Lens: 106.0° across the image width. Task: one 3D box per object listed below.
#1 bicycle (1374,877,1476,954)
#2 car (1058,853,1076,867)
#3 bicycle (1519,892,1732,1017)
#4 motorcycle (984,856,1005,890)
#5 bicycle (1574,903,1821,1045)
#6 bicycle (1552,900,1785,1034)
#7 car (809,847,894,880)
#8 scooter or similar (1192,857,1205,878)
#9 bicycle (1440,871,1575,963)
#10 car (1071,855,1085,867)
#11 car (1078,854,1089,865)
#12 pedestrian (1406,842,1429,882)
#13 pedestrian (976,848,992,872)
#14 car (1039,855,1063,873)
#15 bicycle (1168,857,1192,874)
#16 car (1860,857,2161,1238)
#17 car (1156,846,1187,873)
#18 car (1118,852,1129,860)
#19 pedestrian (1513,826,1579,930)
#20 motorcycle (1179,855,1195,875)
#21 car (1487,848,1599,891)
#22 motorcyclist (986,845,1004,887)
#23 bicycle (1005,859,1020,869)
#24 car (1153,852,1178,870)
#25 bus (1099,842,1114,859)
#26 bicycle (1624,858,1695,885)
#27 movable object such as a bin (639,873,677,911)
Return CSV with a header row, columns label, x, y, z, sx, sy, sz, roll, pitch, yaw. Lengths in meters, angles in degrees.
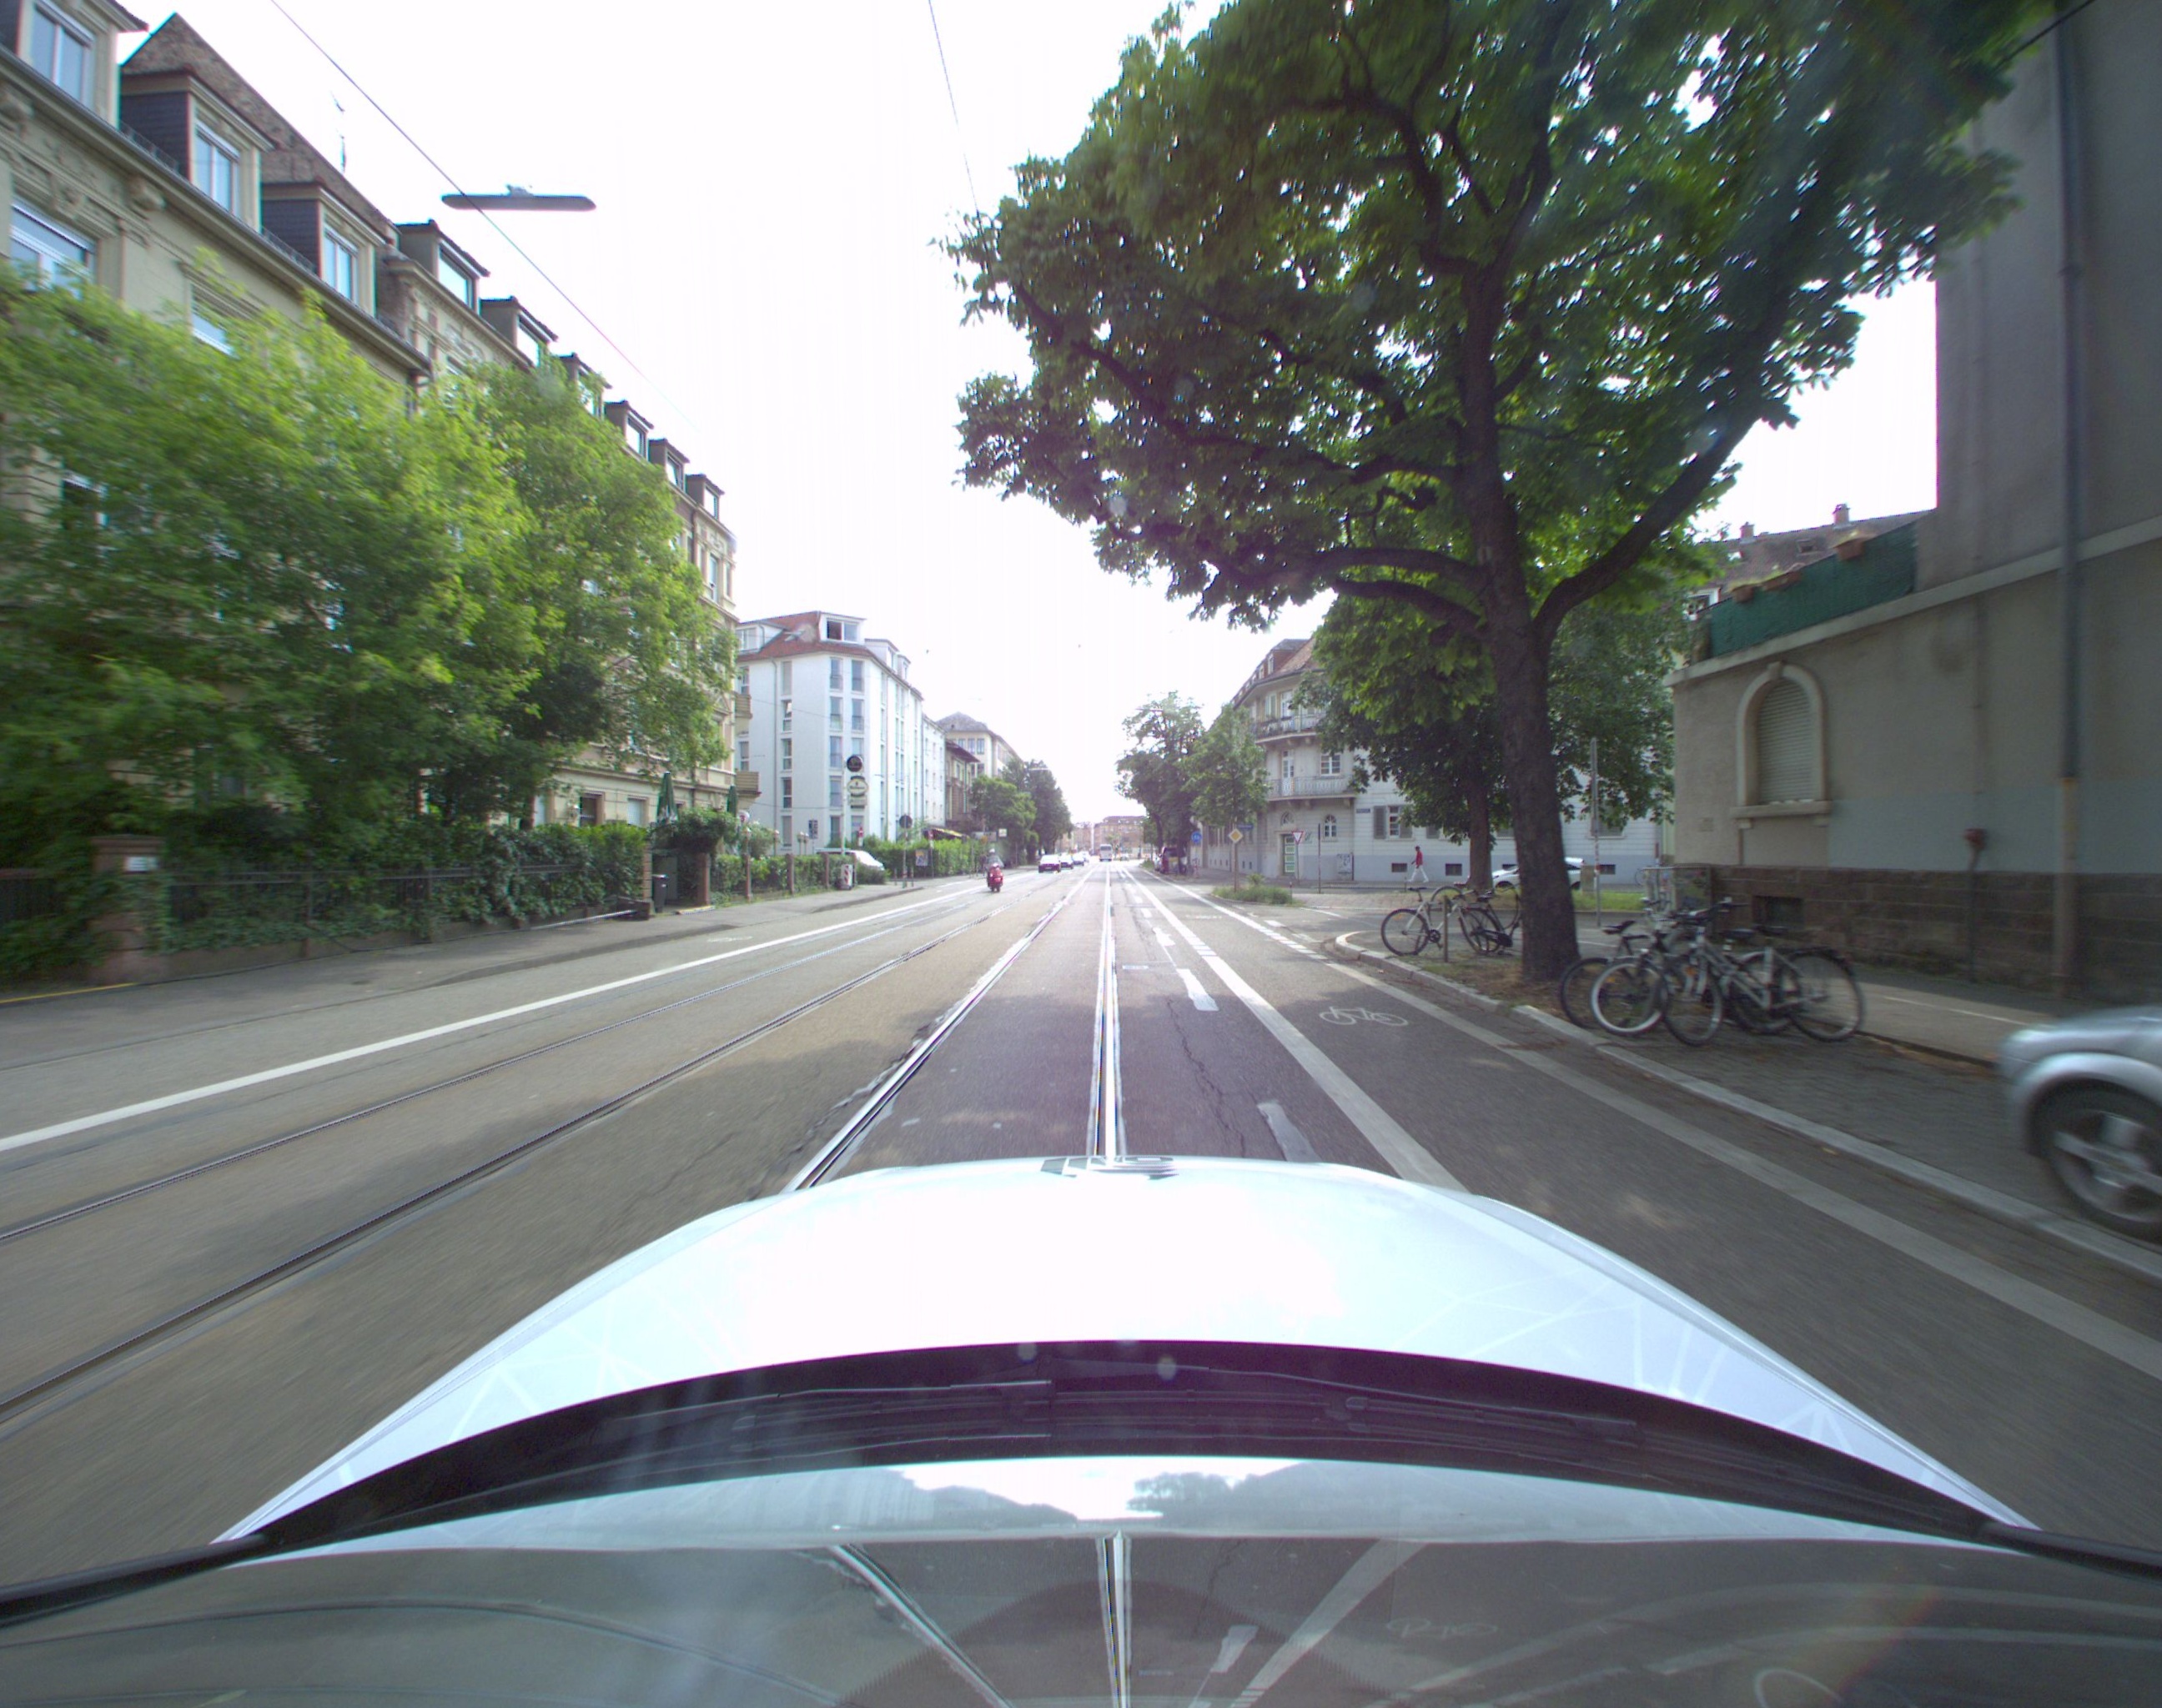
label,x,y,z,sx,sy,sz,roll,pitch,yaw
bicycle,4.928,0.876,11.712,1.263,1.066,0.478,0,0,1
car,-1.392,0.572,83.118,1.622,1.407,4.131,0,0,2
bicycle,4.906,0.892,7.381,1.639,1.070,0.349,0,0,5
motorcycle,-3.573,0.766,33.781,0.737,1.360,2.086,0,0,-3
bicycle,4.878,0.938,6.492,1.639,1.070,0.349,0,0,4
bicycle,4.900,0.928,6.840,1.639,1.070,0.349,0,0,5
car,-14.370,0.612,50.905,4.886,2.013,2.061,-1,0,24
scooter or similar,6.992,0.800,48.508,0.530,1.251,1.721,-1,0,3
bicycle,5.985,0.835,11.548,0.586,1.158,1.826,0,0,-16
car,-0.332,0.889,105.242,1.721,1.540,4.277,-1,0,1
car,0.399,0.940,141.765,1.891,1.907,5.384,-1,0,1
pedestrian,16.625,0.384,40.264,0.965,1.937,0.907,0,-1,28
pedestrian,-7.589,0.470,63.601,1.055,1.917,0.830,0,0,3
car,-2.445,0.797,67.508,1.587,1.440,3.940,-2,0,4
bicycle,6.966,0.802,57.199,1.605,1.203,0.589,0,0,-2
car,4.895,0.743,2.391,1.579,1.445,3.900,0,0,2
car,6.710,0.378,60.826,1.888,1.941,4.952,-1,0,2
car,8.848,0.446,171.463,2.123,1.684,4.103,1,1,0
pedestrian,8.508,0.420,14.946,0.616,1.834,1.030,0,0,-1
motorcycle,6.960,0.699,53.539,0.854,1.321,2.447,0,0,3
car,17.413,0.552,30.823,3.574,1.498,1.742,0,2,28
motorcyclist,-3.568,0.486,33.704,0.738,1.714,0.919,0,0,-8
bicycle,-7.164,1.055,85.625,1.138,0.909,2.990,3,0,2
car,7.169,0.589,69.461,1.700,1.498,4.791,-1,0,2
bus,5.212,-0.727,168.321,2.907,3.328,12.209,1,-1,1
bicycle,25.387,0.766,35.785,2.485,1.147,0.686,0,3,22
movable object such as a bin,-10.429,0.932,20.093,0.576,0.925,0.641,0,0,2
